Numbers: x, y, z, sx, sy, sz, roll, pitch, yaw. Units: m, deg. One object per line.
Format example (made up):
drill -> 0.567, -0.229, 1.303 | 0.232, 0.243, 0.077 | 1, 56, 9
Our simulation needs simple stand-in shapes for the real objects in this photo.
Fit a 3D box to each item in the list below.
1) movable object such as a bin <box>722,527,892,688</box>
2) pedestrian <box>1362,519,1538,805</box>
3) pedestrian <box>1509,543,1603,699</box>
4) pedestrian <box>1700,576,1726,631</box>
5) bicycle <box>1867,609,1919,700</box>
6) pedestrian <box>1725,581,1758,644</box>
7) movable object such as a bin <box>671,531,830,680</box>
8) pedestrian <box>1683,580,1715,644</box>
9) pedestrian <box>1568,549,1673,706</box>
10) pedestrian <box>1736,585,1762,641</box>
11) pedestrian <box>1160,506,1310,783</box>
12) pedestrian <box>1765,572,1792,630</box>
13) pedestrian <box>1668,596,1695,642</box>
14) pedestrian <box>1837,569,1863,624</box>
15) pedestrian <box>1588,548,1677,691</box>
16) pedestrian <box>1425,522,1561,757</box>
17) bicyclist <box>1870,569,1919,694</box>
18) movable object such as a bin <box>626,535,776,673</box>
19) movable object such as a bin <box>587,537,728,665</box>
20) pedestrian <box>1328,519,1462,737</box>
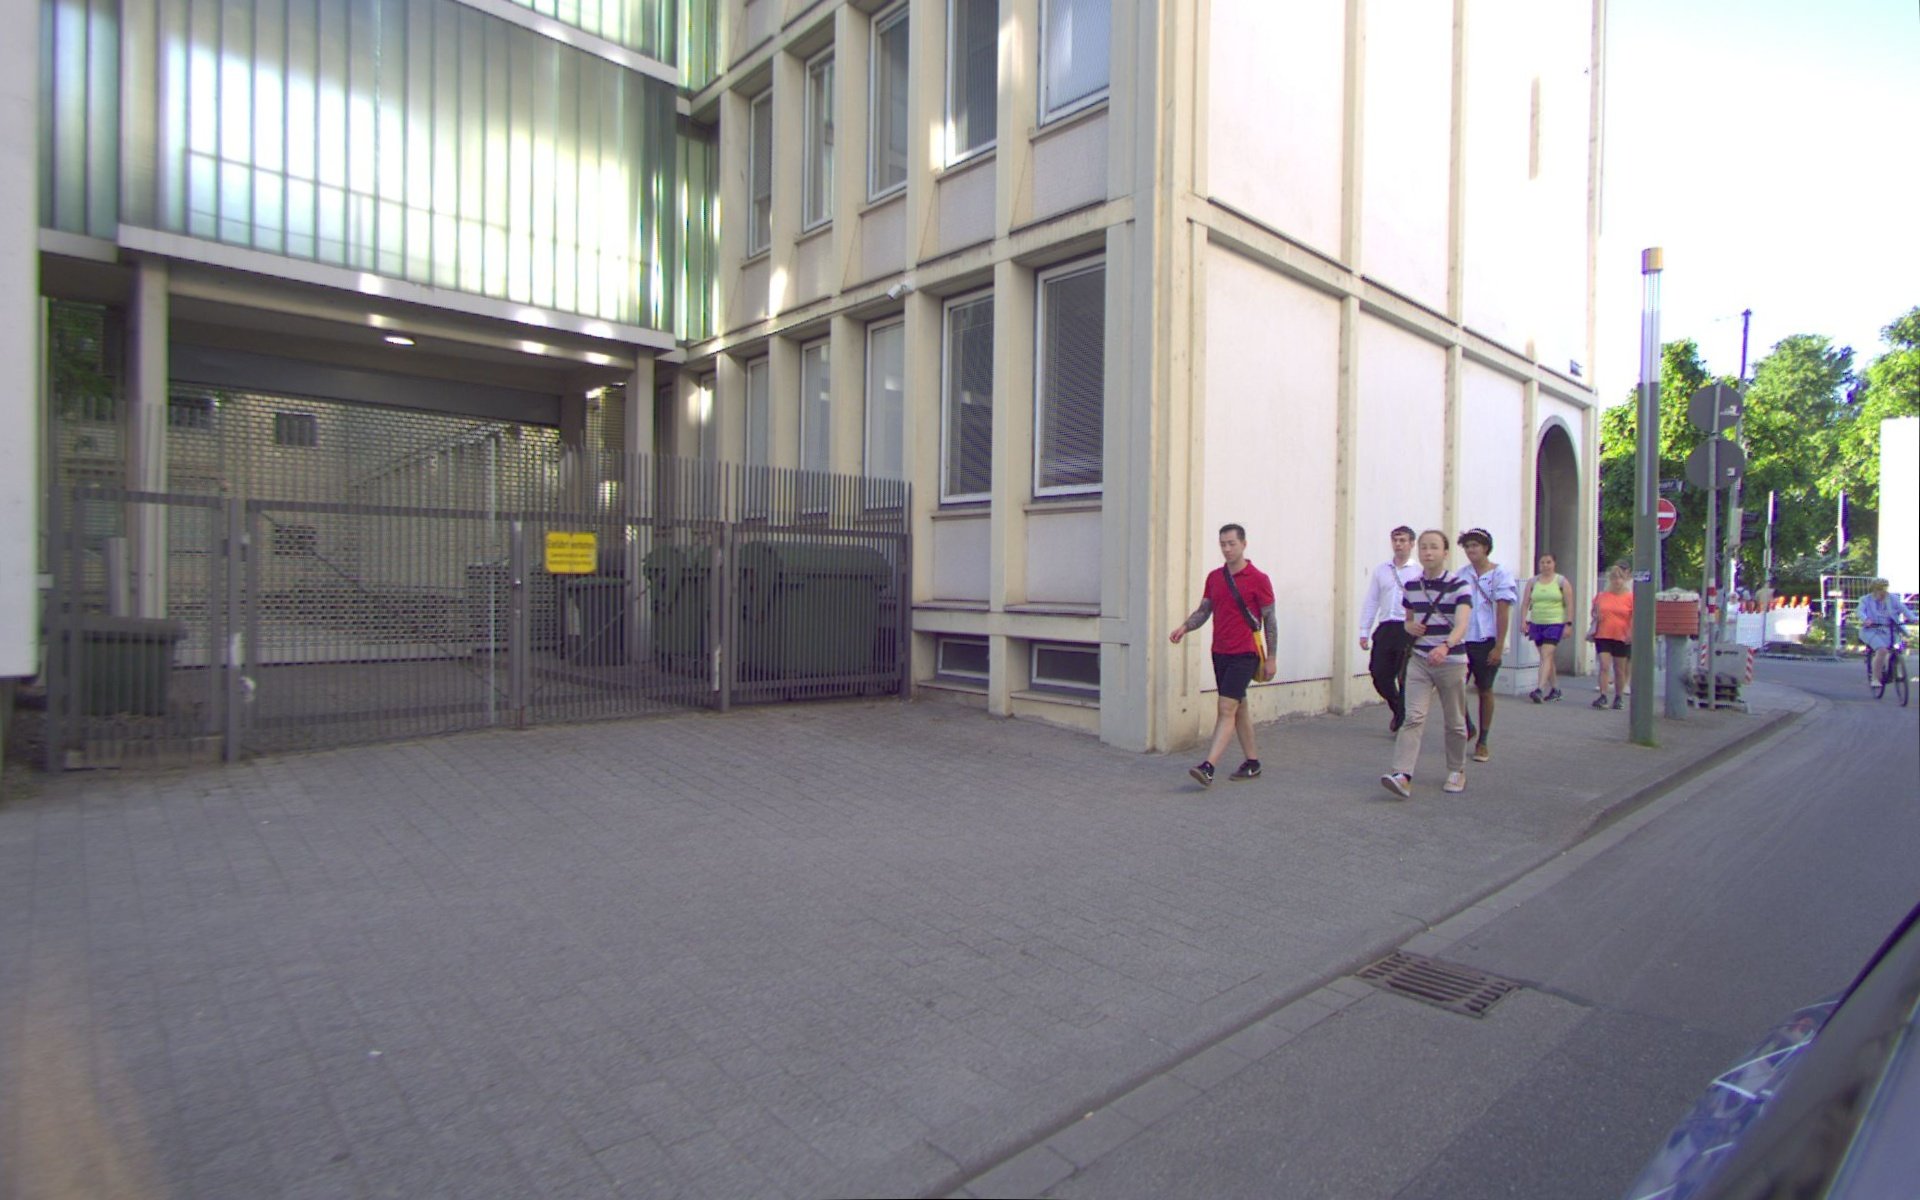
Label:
movable object such as a bin -> -1.504, 0.049, 9.984 | 1.359, 1.454, 0.968 | -1, 1, -42
pedestrian -> 3.353, 0.384, 6.948 | 0.681, 1.799, 0.685 | 0, 7, -41
pedestrian -> 6.934, 0.218, 11.779 | 0.681, 1.736, 0.684 | 0, 2, -41
pedestrian -> 25.014, 0.111, 33.607 | 0.624, 1.805, 0.614 | 1, 1, 42
bicycle -> 13.087, 0.717, 14.100 | 0.594, 1.097, 2.274 | 1, 2, 44
pedestrian -> 20.448, 0.311, 26.481 | 0.624, 1.634, 0.614 | 1, 1, 42
movable object such as a bin -> -2.211, 0.029, 10.715 | 1.359, 1.454, 0.968 | -1, 1, -42
pedestrian -> 19.422, 0.299, 26.592 | 0.624, 1.662, 0.614 | 1, 1, 42
pedestrian -> 7.480, 0.289, 11.476 | 0.681, 1.655, 0.685 | 0, 6, -41
pedestrian -> 25.730, 0.403, 32.998 | 0.624, 1.805, 0.614 | 1, 1, 42
pedestrian -> 1.912, 0.273, 7.067 | 0.583, 1.799, 0.685 | 0, 5, -41
pedestrian -> 26.099, 0.023, 32.262 | 0.624, 1.805, 0.614 | 1, 1, 42
pedestrian -> 19.526, 0.501, 27.382 | 0.533, 1.191, 0.614 | 1, 1, 42
pedestrian -> 29.822, -0.120, 33.910 | 0.624, 1.805, 0.614 | 1, 1, 42
pedestrian -> 8.609, 0.229, 12.962 | 0.681, 1.736, 0.685 | 0, 4, -41
pedestrian -> 4.327, 0.286, 8.224 | 0.681, 1.800, 0.684 | 0, 3, -41
bicyclist -> 13.120, 0.419, 14.133 | 0.584, 1.710, 0.530 | 1, 1, 44
movable object such as a bin -> -2.926, 0.017, 11.472 | 1.359, 1.454, 0.968 | -1, 1, -42
movable object such as a bin -> -3.669, -0.013, 12.297 | 1.359, 1.454, 0.968 | -1, 1, -42
pedestrian -> 3.866, 0.222, 9.006 | 0.681, 1.799, 0.685 | 0, 7, -41
